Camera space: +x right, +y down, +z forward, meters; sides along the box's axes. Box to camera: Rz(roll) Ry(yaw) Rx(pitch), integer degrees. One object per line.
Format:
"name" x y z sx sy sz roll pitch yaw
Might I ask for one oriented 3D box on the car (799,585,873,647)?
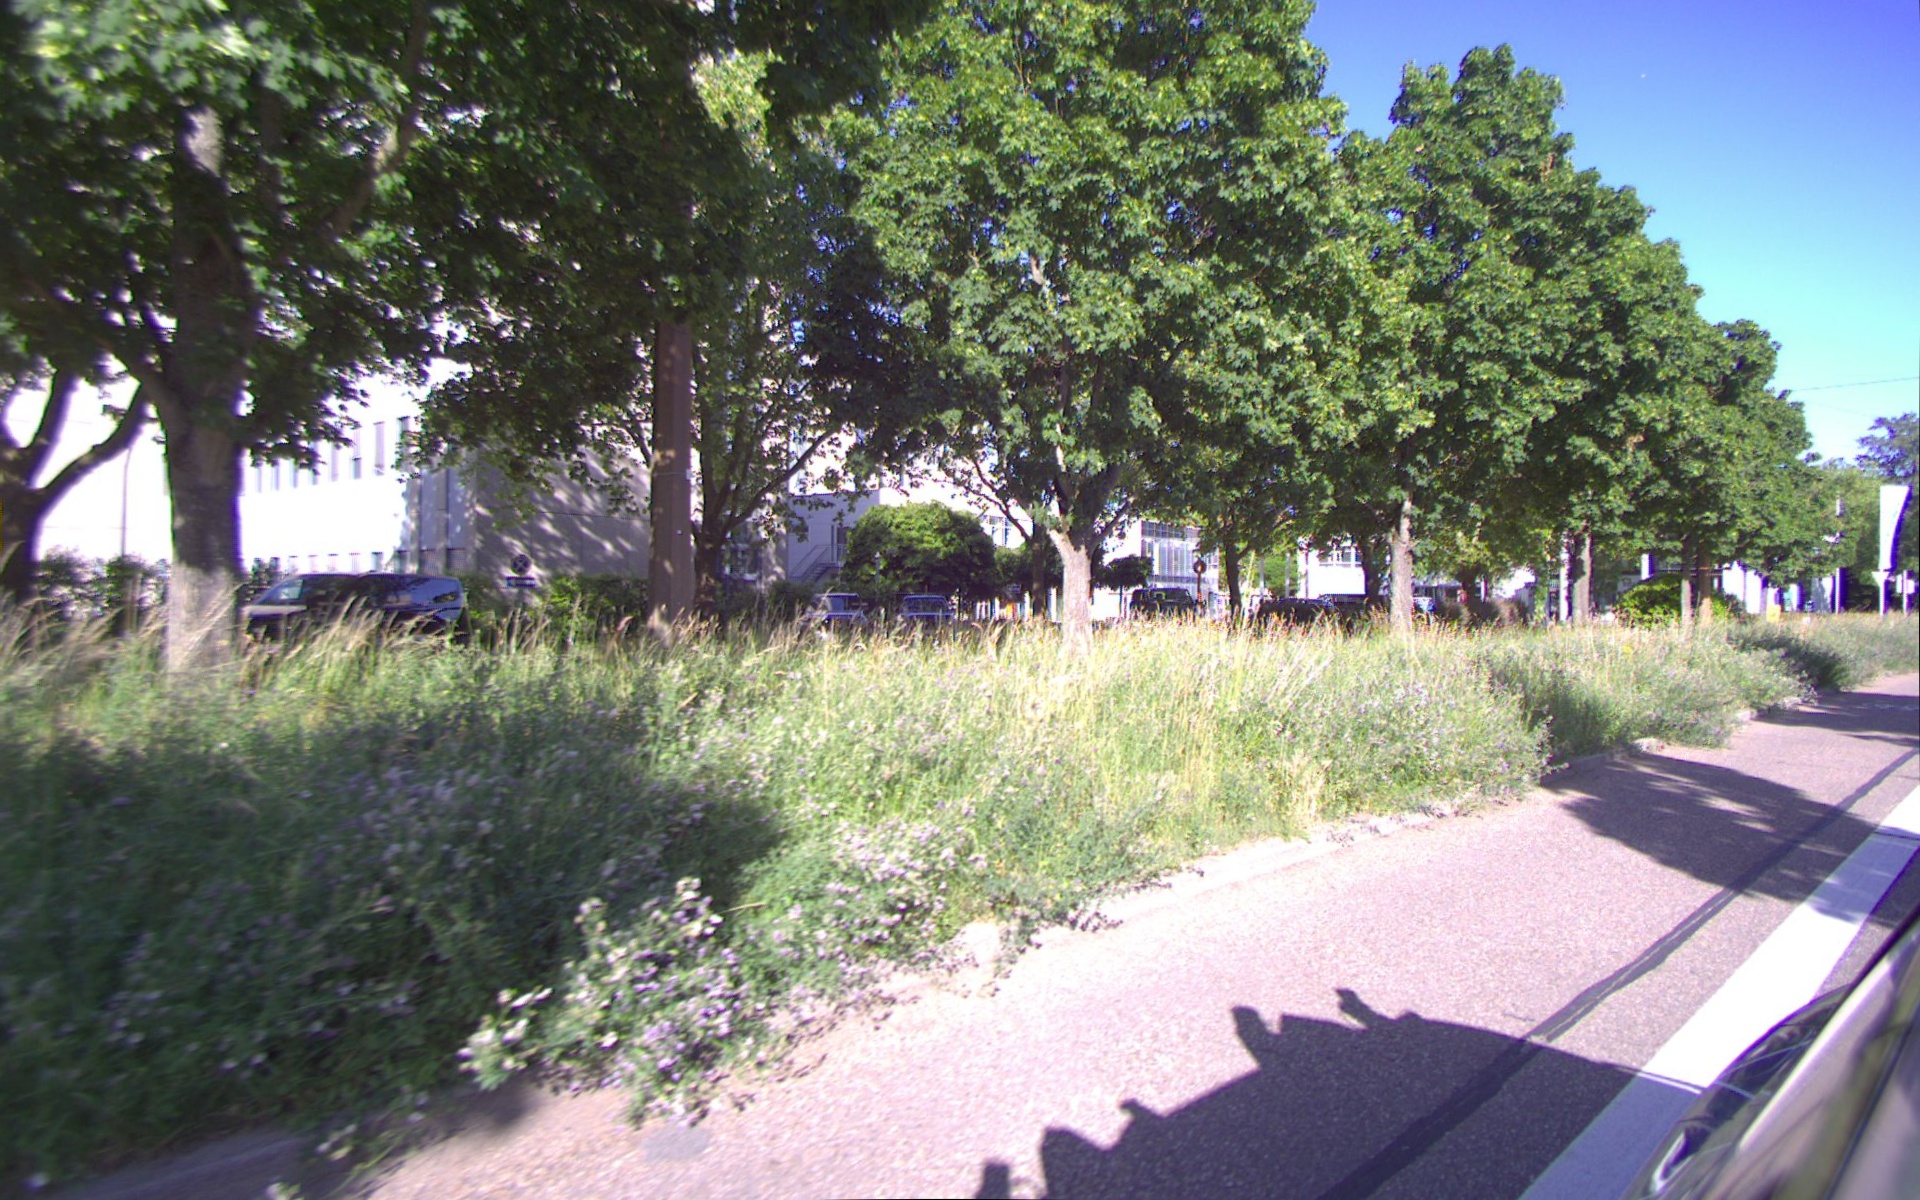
"car" -3.313 0.382 27.357 1.810 1.534 4.554 0 0 -6

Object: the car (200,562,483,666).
"car" -11.846 0.225 19.984 1.885 1.774 5.447 0 0 6

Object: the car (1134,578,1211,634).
"car" 7.712 0.194 37.158 2.042 1.900 5.181 0 0 4

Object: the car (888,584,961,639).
"car" -1.099 0.297 29.465 1.810 1.466 4.554 0 0 -6
